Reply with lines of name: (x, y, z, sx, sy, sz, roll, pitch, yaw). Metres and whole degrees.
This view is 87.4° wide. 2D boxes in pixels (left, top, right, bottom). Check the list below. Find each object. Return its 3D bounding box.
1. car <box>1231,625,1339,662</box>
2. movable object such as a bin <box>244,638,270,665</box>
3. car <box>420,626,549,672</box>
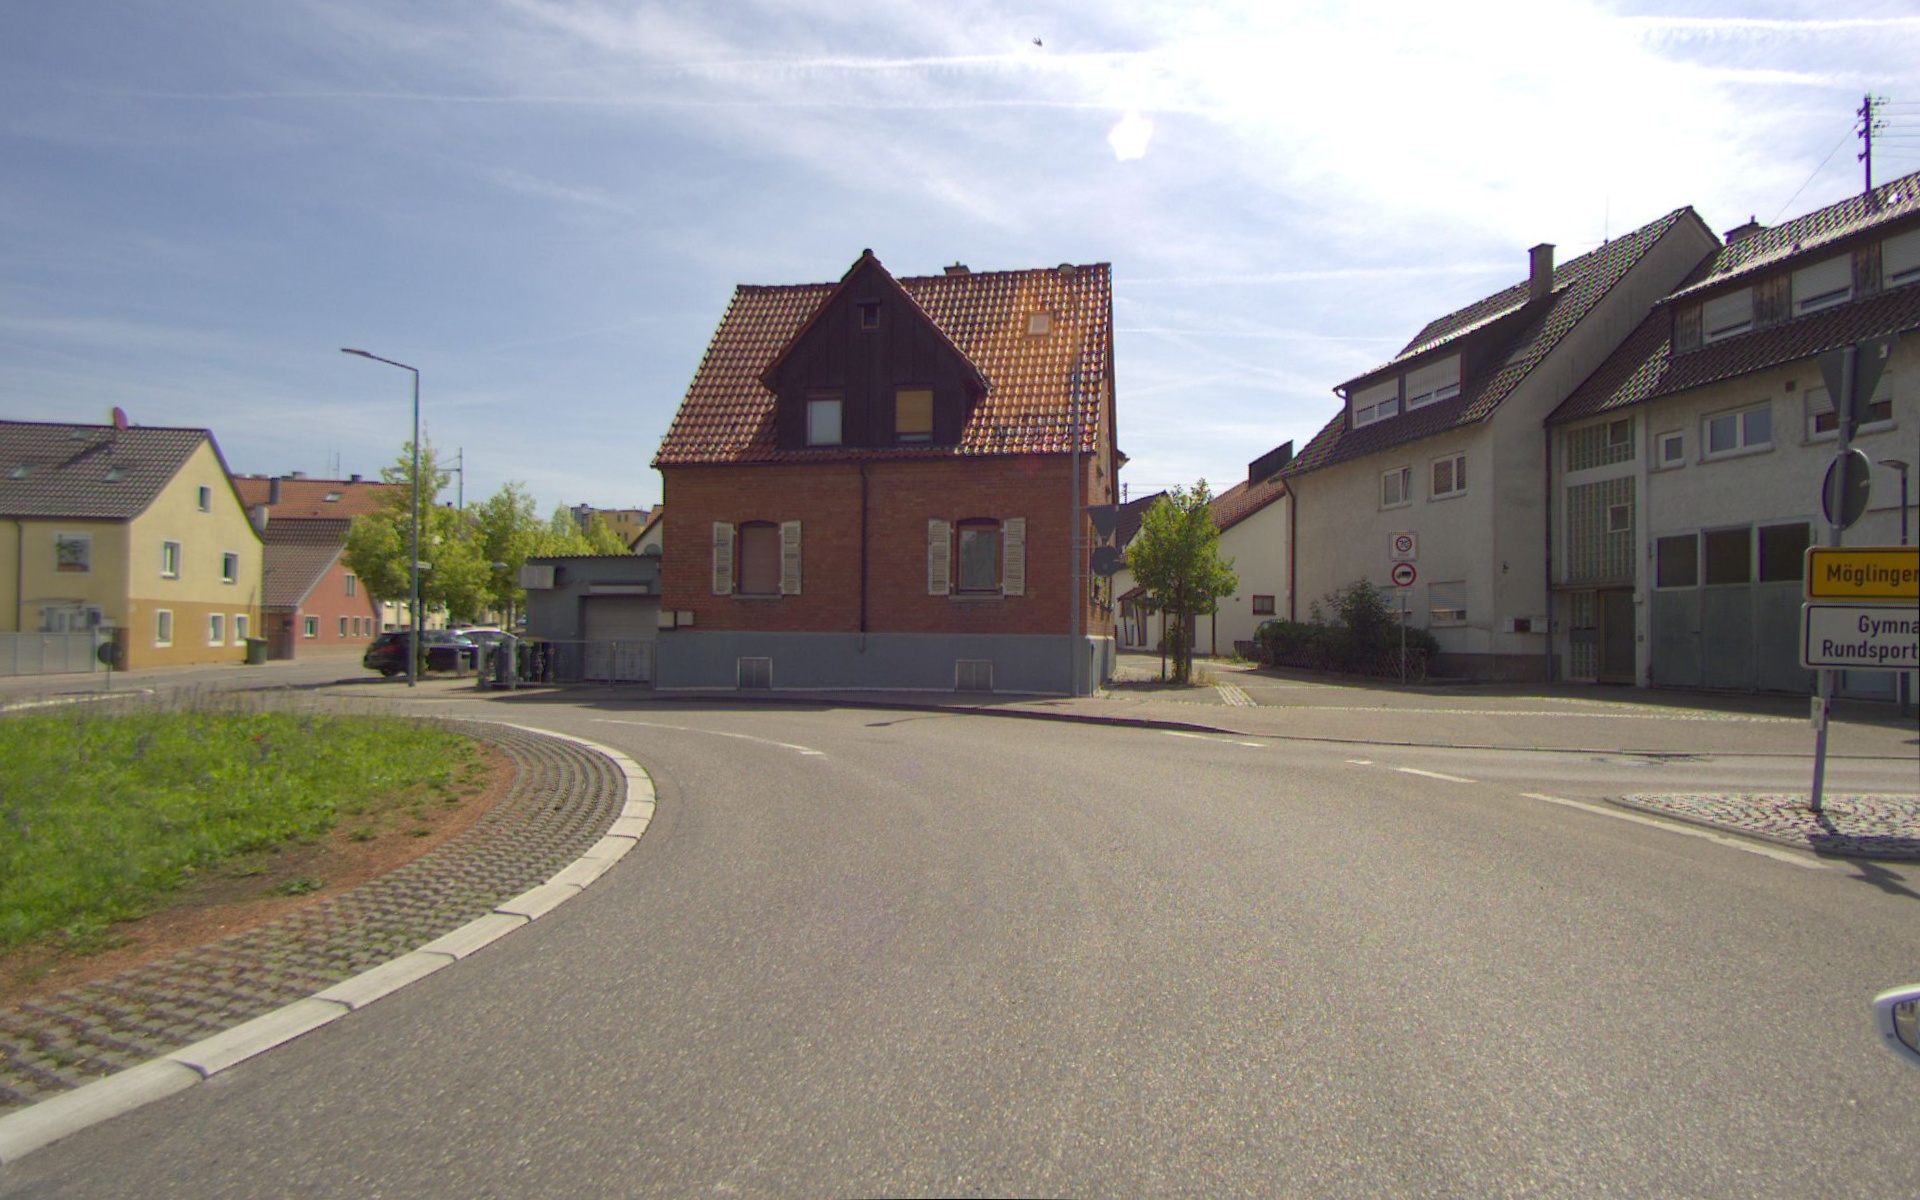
car: (11.506, 1.532, 35.688, 3.347, 1.268, 1.490, 0, -1, -9)
movable object such as a bin: (-28.734, 2.111, 41.080, 0.688, 1.066, 0.673, 0, -1, -15)
car: (-17.704, 1.793, 37.541, 1.792, 1.639, 3.978, -1, -2, 43)
